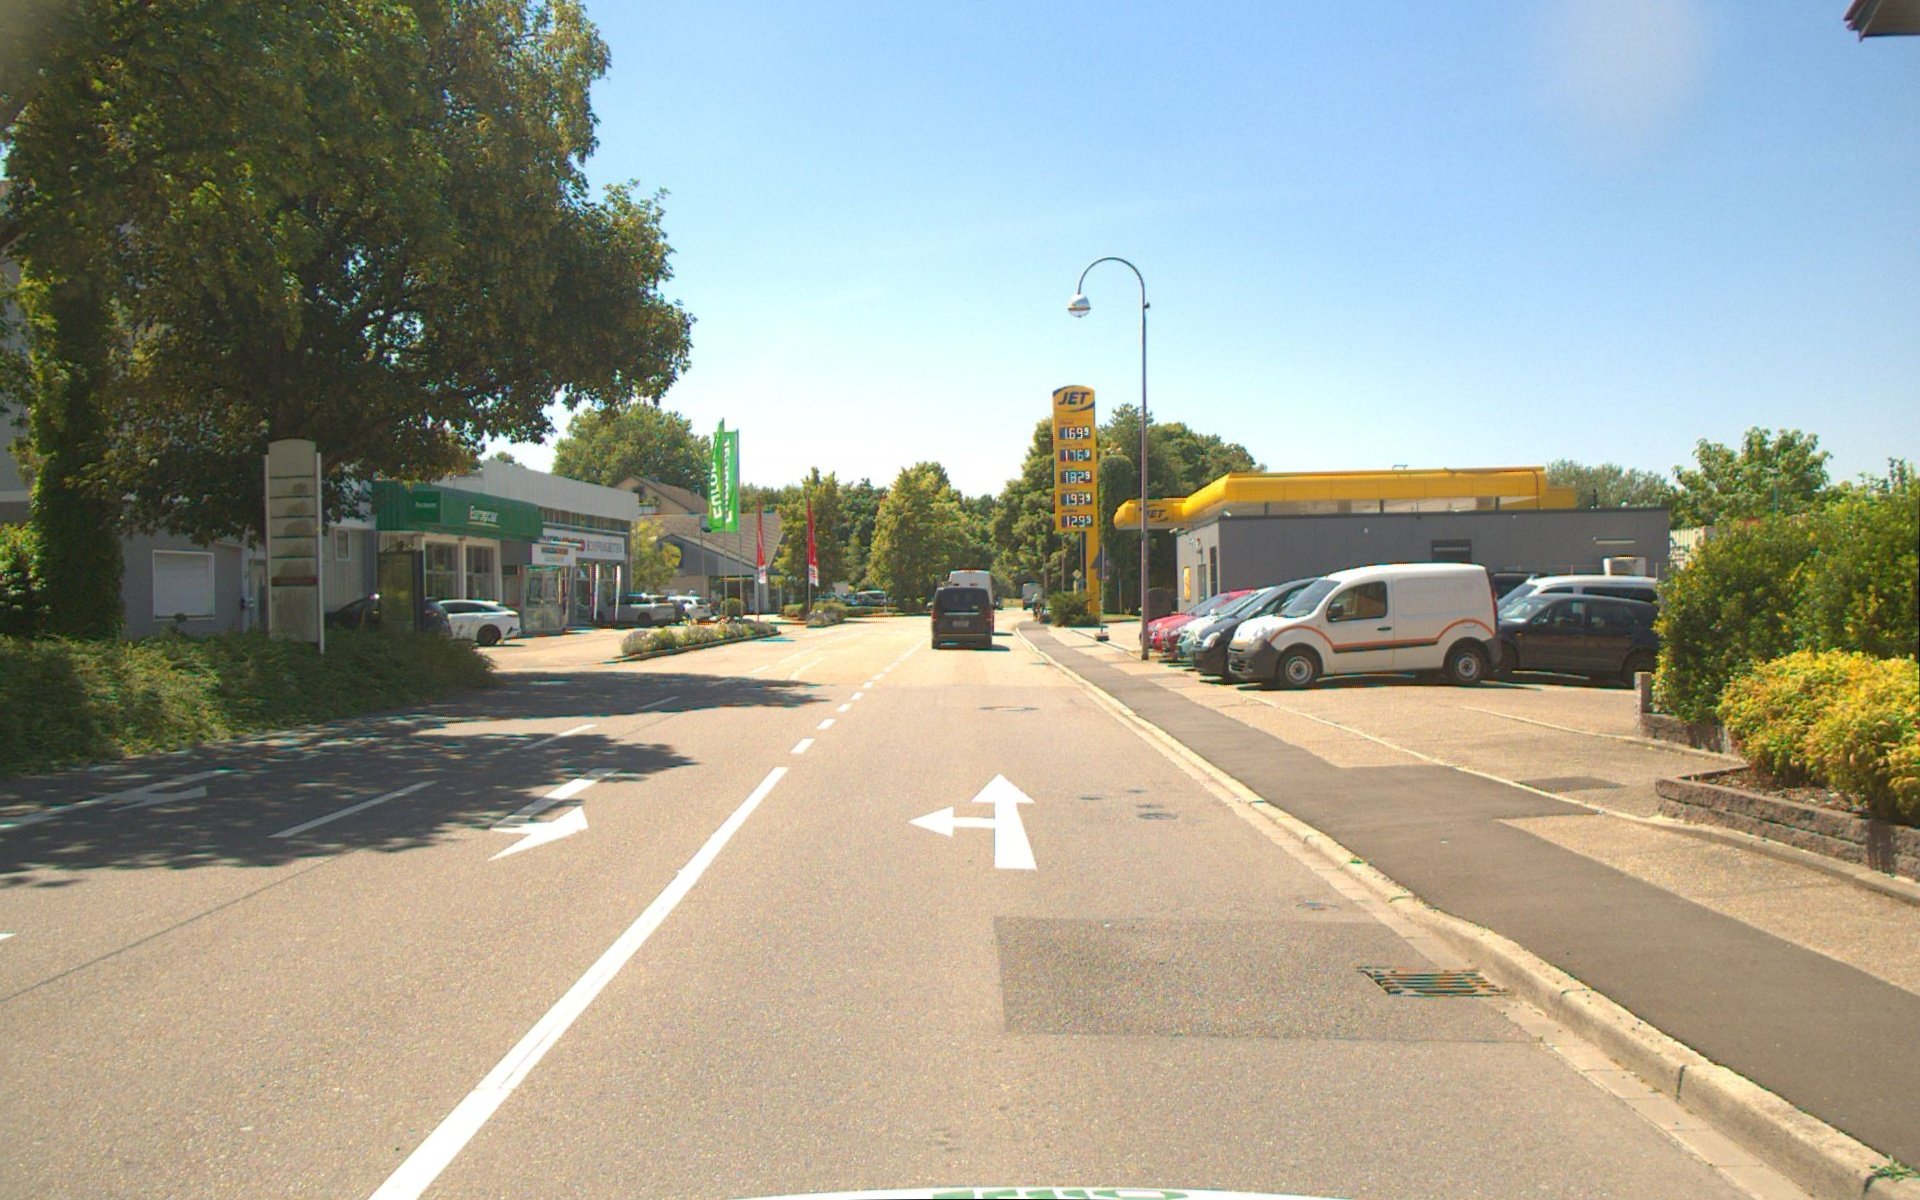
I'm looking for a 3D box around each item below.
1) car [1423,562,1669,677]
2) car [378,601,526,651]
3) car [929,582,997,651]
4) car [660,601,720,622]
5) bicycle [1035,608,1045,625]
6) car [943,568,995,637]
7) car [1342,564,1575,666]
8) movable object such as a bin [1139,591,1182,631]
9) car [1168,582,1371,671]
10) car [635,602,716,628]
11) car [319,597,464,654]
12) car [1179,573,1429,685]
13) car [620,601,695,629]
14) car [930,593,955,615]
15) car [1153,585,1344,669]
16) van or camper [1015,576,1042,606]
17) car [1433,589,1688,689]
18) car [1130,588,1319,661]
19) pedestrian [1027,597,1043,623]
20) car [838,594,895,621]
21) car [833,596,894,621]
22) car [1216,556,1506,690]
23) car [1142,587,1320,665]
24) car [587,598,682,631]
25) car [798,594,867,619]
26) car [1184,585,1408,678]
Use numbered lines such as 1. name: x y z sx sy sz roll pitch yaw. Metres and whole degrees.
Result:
1. car: 10.577 0.342 30.040 3.813 1.870 1.689 2 0 1
2. car: -15.830 0.794 51.482 4.280 1.464 1.927 0 0 -22
3. car: 0.079 0.489 50.980 1.953 1.987 5.004 1 0 0
4. car: -20.560 0.889 126.036 4.223 1.557 1.828 0 -1 1
5. bicycle: 4.397 0.890 91.051 0.370 0.928 1.599 0 0 8
6. car: 0.409 0.108 69.025 2.035 2.750 4.667 1 0 1
7. car: 10.482 0.312 34.994 4.253 1.929 1.971 2 0 -3
8. movable object such as a bin: 7.593 0.407 62.715 1.404 1.463 1.468 -2 0 1
9. car: 6.008 0.493 32.356 3.610 1.594 1.641 -2 0 -2
10. car: -16.067 0.837 93.452 4.095 1.472 1.981 0 0 17
11. car: -16.335 0.724 47.660 3.487 1.592 1.969 -1 0 0
12. car: 5.759 0.469 28.007 3.798 1.710 1.762 -2 0 -3
13. car: -16.572 0.831 90.637 3.550 1.500 2.001 0 0 19
14. car: -1.330 0.279 126.491 1.726 1.553 4.138 -2 0 1
15. car: 6.000 0.545 34.624 3.611 1.594 1.748 -2 0 -4
16. van or camper: 6.853 -0.868 165.267 2.577 2.980 5.207 1 -1 1
17. car: 10.100 0.635 27.996 3.535 1.493 1.947 2 0 -5
18. car: 6.247 0.562 39.400 4.138 1.561 1.958 -2 0 -1
19. pedestrian: 4.133 0.542 91.111 0.752 1.446 0.868 0 0 9
20. car: -7.309 0.598 129.665 4.265 2.015 1.905 0 -1 2
21. car: -7.409 0.638 126.948 4.291 1.877 2.105 0 -1 10
22. car: 6.220 0.340 25.915 4.054 1.972 1.806 -1 0 -6
23. car: 6.005 0.553 36.930 3.611 1.594 1.707 -2 0 -3
24. car: -16.810 0.741 85.536 4.436 1.693 2.001 0 0 19
25. car: -9.193 0.480 119.477 4.607 1.793 2.100 0 -1 9
26. car: 6.093 0.547 30.270 3.714 1.536 1.833 -2 0 1
